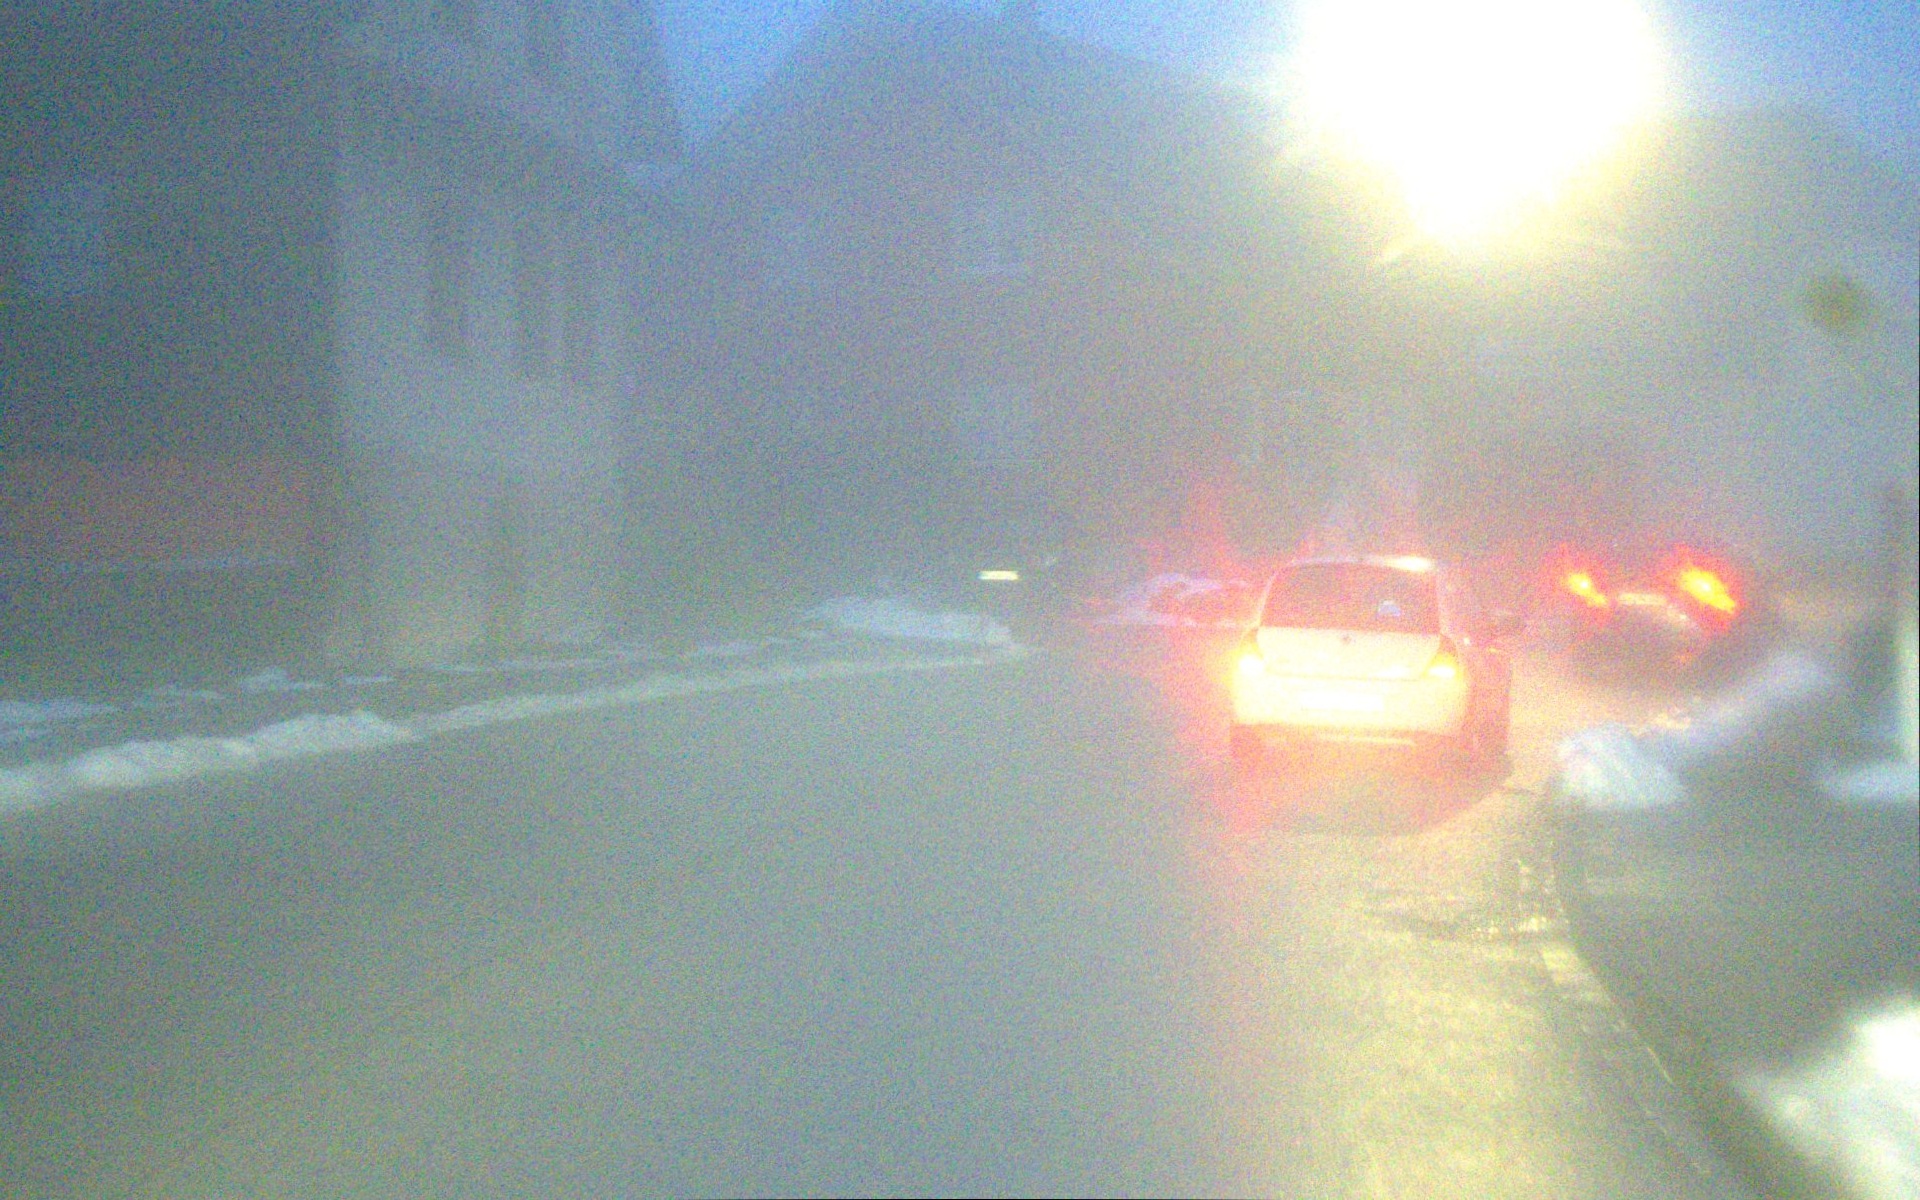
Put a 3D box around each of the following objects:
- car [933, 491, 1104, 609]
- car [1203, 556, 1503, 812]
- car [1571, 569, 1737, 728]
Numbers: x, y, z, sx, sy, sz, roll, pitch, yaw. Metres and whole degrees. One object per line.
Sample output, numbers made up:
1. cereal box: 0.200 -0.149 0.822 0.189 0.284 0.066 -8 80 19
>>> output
1. car: 0.855 -0.686 47.623 1.874 1.499 3.999 2 1 7
2. car: 2.812 0.519 23.955 1.646 1.590 3.697 2 1 13
3. car: 7.538 0.479 37.400 1.646 1.590 3.698 2 1 11
